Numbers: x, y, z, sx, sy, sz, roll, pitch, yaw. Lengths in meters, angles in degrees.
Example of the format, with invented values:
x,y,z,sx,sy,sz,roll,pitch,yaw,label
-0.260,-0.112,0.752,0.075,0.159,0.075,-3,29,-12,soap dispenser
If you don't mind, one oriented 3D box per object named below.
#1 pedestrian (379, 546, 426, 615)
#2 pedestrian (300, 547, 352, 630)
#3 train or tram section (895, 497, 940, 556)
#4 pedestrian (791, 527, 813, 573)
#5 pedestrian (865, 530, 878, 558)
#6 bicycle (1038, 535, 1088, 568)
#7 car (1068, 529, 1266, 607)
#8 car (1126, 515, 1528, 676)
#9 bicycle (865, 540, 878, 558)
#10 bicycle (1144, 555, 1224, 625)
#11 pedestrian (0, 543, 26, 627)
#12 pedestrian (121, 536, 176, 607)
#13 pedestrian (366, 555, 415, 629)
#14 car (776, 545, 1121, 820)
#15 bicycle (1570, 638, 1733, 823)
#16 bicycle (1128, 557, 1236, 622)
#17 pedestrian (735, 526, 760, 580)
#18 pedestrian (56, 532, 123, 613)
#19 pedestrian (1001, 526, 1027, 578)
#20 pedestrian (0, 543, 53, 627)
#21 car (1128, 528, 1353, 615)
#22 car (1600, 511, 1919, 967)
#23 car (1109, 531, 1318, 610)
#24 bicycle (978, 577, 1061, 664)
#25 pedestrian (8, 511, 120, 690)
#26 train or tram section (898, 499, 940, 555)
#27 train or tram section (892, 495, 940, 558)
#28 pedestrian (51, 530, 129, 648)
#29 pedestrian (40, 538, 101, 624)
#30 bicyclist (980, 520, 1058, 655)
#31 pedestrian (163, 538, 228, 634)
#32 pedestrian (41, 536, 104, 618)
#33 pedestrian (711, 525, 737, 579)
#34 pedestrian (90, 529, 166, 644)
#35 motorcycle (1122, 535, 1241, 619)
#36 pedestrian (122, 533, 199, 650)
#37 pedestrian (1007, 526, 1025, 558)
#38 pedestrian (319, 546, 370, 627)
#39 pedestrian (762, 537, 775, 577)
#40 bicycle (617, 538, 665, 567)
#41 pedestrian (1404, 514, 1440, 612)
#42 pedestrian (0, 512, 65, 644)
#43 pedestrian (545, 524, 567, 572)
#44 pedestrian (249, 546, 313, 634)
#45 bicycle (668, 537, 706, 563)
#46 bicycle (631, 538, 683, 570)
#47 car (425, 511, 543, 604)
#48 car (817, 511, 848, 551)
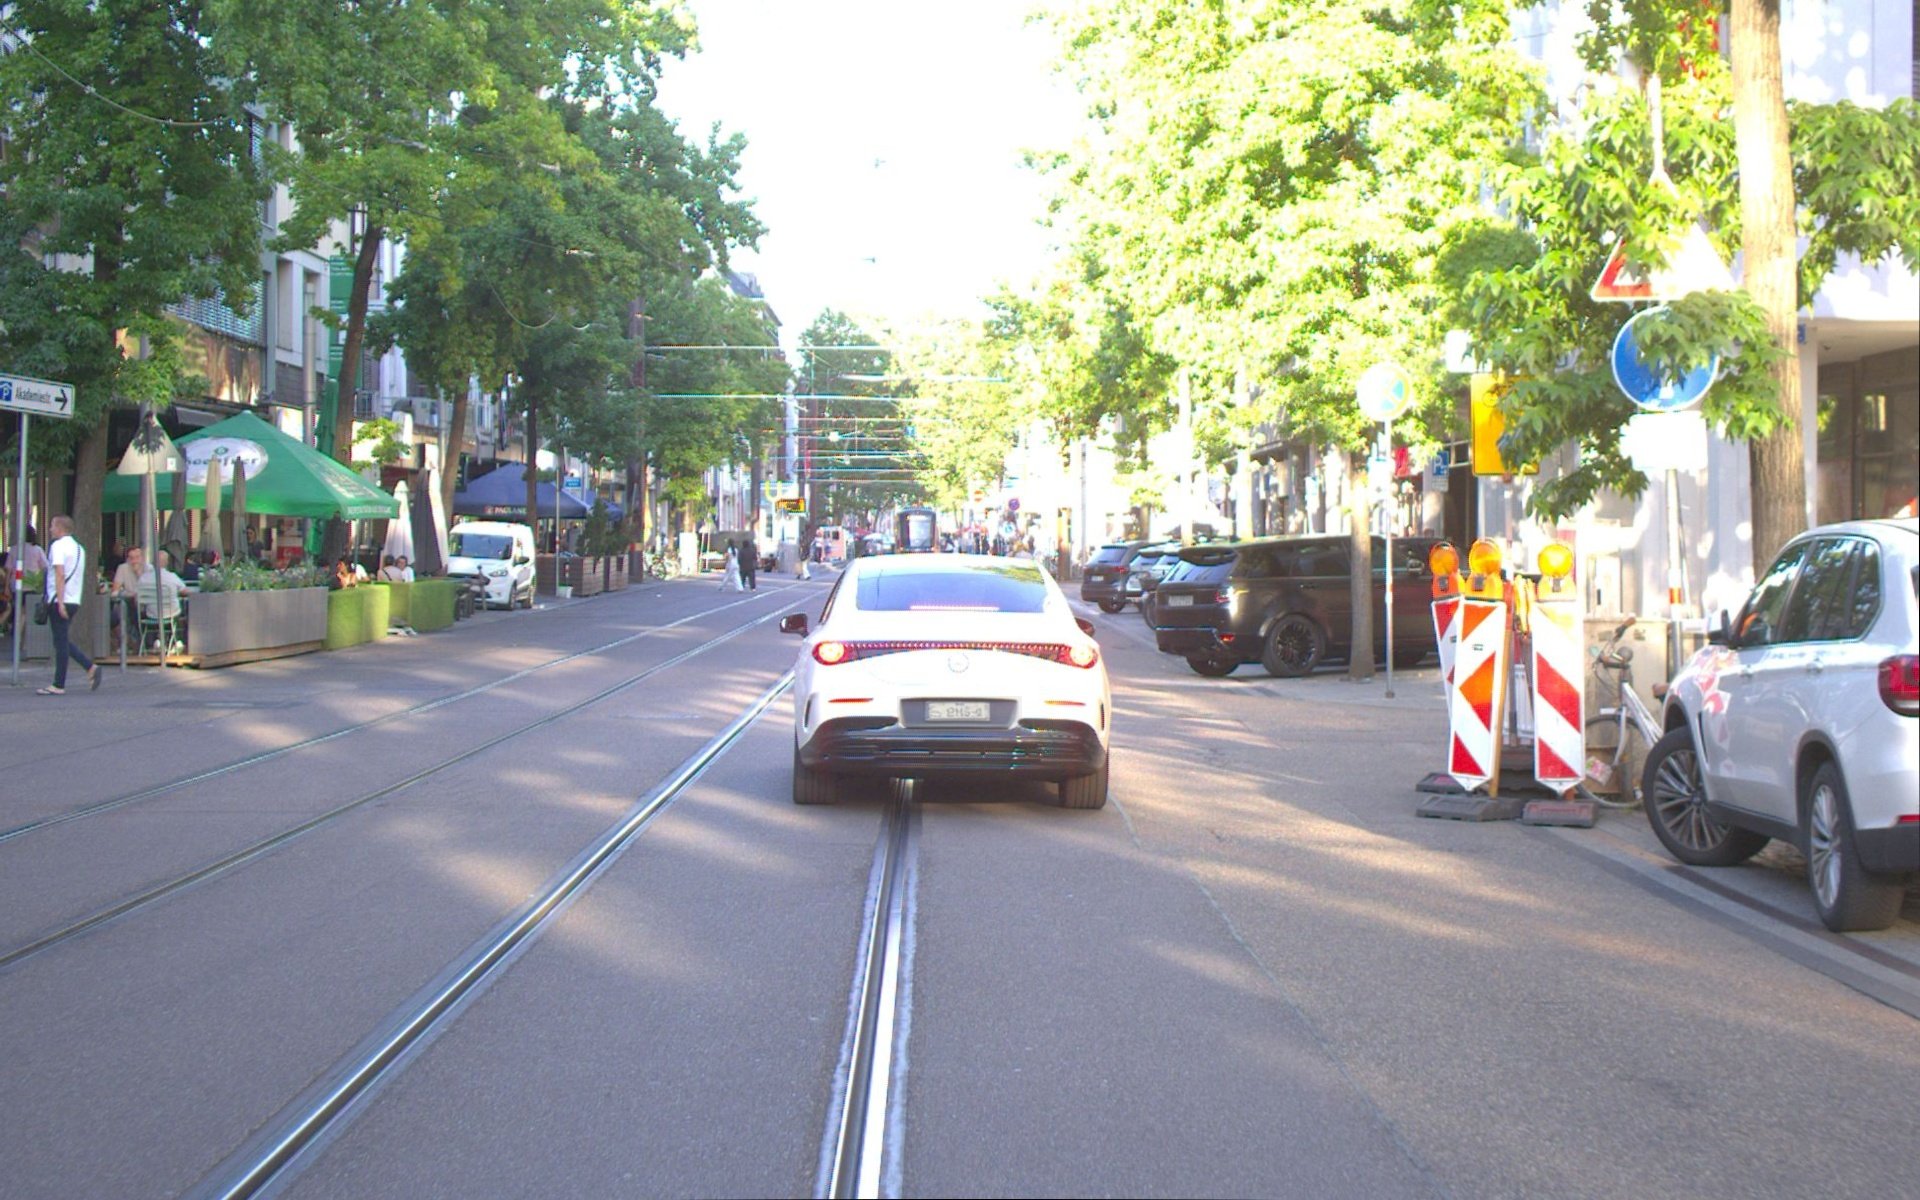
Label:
x,y,z,sx,sy,sz,roll,pitch,yaw,label
-9.923,-0.351,61.249,0.657,1.189,0.798,3,1,-1,pedestrian
-9.833,-0.188,53.307,0.619,1.240,0.697,3,1,-1,pedestrian
-2.576,-4.501,211.699,2.694,3.504,12.546,0,1,0,train or tram section
-6.275,-1.990,136.625,0.788,1.795,0.844,0,1,1,pedestrian
-5.749,-3.625,222.473,0.800,1.776,0.849,2,1,-1,pedestrian
4.144,-1.944,138.611,1.908,1.277,0.610,-2,1,-11,bicycle
4.818,-0.744,79.739,4.342,1.646,1.694,-3,1,-31,car
4.609,-0.079,43.045,4.651,1.757,1.995,-3,1,-29,car
-5.756,-3.316,222.441,0.800,1.138,2.257,2,1,-2,bicycle
4.011,-0.186,61.474,0.481,1.159,1.691,-2,1,39,bicycle
-13.501,-0.213,48.282,0.552,1.157,0.687,2,1,0,pedestrian
-13.794,-0.487,58.421,0.700,1.164,0.788,3,1,-1,pedestrian
-10.004,-0.146,60.383,0.657,1.240,0.873,3,1,-1,pedestrian
-0.082,0.420,20.925,1.857,1.450,4.175,1,1,-1,car
4.035,0.741,20.173,0.493,0.978,1.930,0,1,-2,bicycle
4.108,-0.197,63.494,1.890,1.116,0.667,-3,1,-29,bicycle
-6.175,-1.372,99.956,0.622,1.545,0.852,3,1,0,pedestrian
-13.882,-0.446,54.836,0.777,1.233,0.945,3,1,-1,pedestrian
1.899,-1.690,121.573,0.841,1.795,0.790,2,1,1,pedestrian
-13.431,-0.223,49.349,0.601,1.170,0.687,2,1,0,pedestrian
5.585,-0.578,68.228,4.147,1.566,1.854,-3,2,-33,car
4.515,0.470,15.799,2.023,1.731,4.907,-2,1,-2,car
5.589,-0.654,75.654,4.235,1.582,1.884,-3,1,-31,car
0.747,0.244,42.459,0.719,0.992,2.058,2,1,9,bicycle
-8.861,-0.009,34.036,0.796,1.734,0.866,1,2,8,pedestrian
-2.648,-4.739,223.539,2.694,3.504,11.144,0,1,0,train or tram section
-2.508,-4.242,199.148,2.694,3.504,12.546,0,1,0,train or tram section
-10.530,-0.139,41.612,0.689,1.382,0.807,2,1,1,pedestrian
-13.275,-0.287,51.328,0.669,1.238,0.799,2,1,-1,pedestrian
0.727,-0.160,42.213,0.778,1.607,0.912,2,1,9,bicyclist
-10.684,-0.198,48.065,0.689,1.307,0.807,2,1,1,pedestrian
-13.867,-0.363,53.735,0.736,1.227,0.788,3,1,-1,pedestrian
-6.788,-1.383,99.019,0.622,1.504,0.833,3,1,0,pedestrian
-10.264,-0.169,42.417,0.689,1.382,0.807,2,1,1,pedestrian
4.196,-0.440,65.056,2.313,1.504,0.858,-3,1,-44,motorcycle
-9.681,-0.114,41.639,0.689,1.382,0.807,2,1,1,pedestrian
3.200,-3.306,195.830,0.960,1.779,0.804,-1,1,-1,pedestrian
-9.696,-0.218,54.162,0.619,1.240,0.697,3,1,-1,pedestrian
-9.135,-2.043,164.204,0.539,1.922,0.573,0,1,3,pedestrian
-10.916,-1.627,117.698,1.596,0.927,0.377,2,1,7,bicycle
8.303,-0.667,61.820,0.523,1.744,0.559,-2,1,2,pedestrian
-11.926,-0.291,44.176,0.619,1.665,0.697,2,1,-1,pedestrian
-13.114,-1.687,111.528,0.597,1.527,0.671,2,1,0,pedestrian
-9.902,-0.150,50.156,0.708,1.255,0.772,2,1,2,pedestrian
-11.142,-2.050,140.328,1.492,1.025,0.345,1,1,-10,bicycle
-10.659,-1.631,120.926,1.788,1.073,0.377,2,1,-4,bicycle
-10.236,-0.938,74.245,1.795,1.858,4.554,3,1,1,car
-9.256,-4.994,249.721,1.993,2.887,5.275,0,1,0,car
